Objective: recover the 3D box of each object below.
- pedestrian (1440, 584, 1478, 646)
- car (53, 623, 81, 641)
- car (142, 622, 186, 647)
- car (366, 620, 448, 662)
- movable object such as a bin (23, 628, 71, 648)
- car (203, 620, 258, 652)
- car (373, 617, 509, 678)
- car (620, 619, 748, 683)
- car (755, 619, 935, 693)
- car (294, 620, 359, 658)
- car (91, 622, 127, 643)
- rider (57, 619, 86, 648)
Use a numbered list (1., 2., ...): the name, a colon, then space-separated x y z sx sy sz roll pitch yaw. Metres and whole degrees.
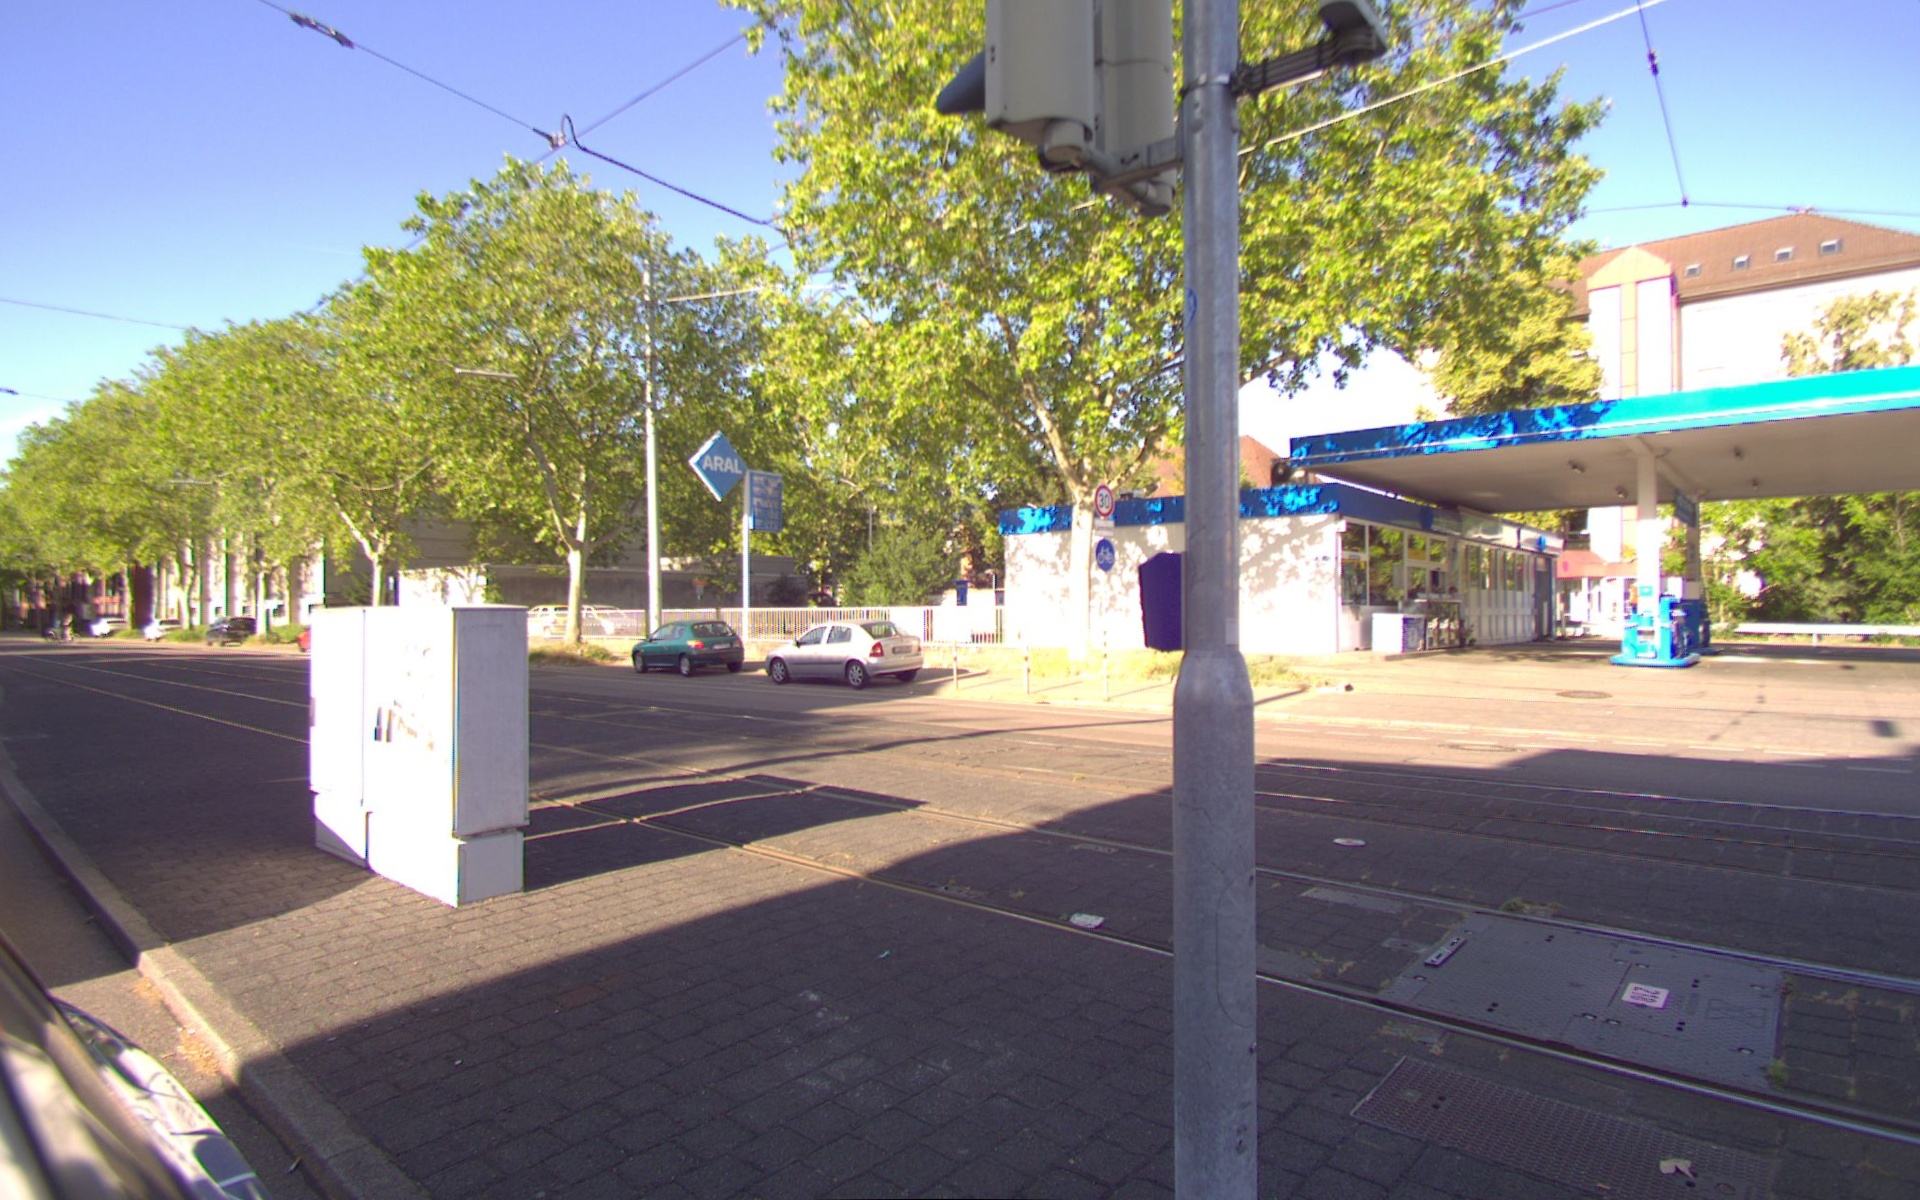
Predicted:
1. pedestrian: 14.037 0.425 28.458 0.847 1.715 0.640 -1 -3 40
2. car: -84.981 3.029 96.294 3.731 1.471 1.639 -1 2 43
3. car: -53.697 2.299 68.251 3.878 1.552 1.731 -1 2 43
4. car: -21.829 1.576 39.898 3.769 1.455 1.701 -1 2 43
5. movable object such as a bin: -54.075 2.222 59.946 1.810 1.111 1.178 -1 0 3
6. car: -40.729 1.995 56.462 3.878 1.603 1.731 -1 2 43
7. car: -13.389 1.205 26.025 3.933 1.446 1.720 -1 -4 41
8. car: -7.386 1.303 26.965 3.606 1.455 1.598 -1 2 43
9. car: -2.629 1.194 22.600 3.987 1.376 1.666 -2 3 41
10. car: -28.795 1.736 45.999 3.377 1.506 1.639 -1 2 43
11. car: -66.783 2.516 79.419 3.731 1.471 1.639 -1 2 43
12. rider: -52.612 1.967 59.947 1.091 1.660 0.725 -1 0 3
